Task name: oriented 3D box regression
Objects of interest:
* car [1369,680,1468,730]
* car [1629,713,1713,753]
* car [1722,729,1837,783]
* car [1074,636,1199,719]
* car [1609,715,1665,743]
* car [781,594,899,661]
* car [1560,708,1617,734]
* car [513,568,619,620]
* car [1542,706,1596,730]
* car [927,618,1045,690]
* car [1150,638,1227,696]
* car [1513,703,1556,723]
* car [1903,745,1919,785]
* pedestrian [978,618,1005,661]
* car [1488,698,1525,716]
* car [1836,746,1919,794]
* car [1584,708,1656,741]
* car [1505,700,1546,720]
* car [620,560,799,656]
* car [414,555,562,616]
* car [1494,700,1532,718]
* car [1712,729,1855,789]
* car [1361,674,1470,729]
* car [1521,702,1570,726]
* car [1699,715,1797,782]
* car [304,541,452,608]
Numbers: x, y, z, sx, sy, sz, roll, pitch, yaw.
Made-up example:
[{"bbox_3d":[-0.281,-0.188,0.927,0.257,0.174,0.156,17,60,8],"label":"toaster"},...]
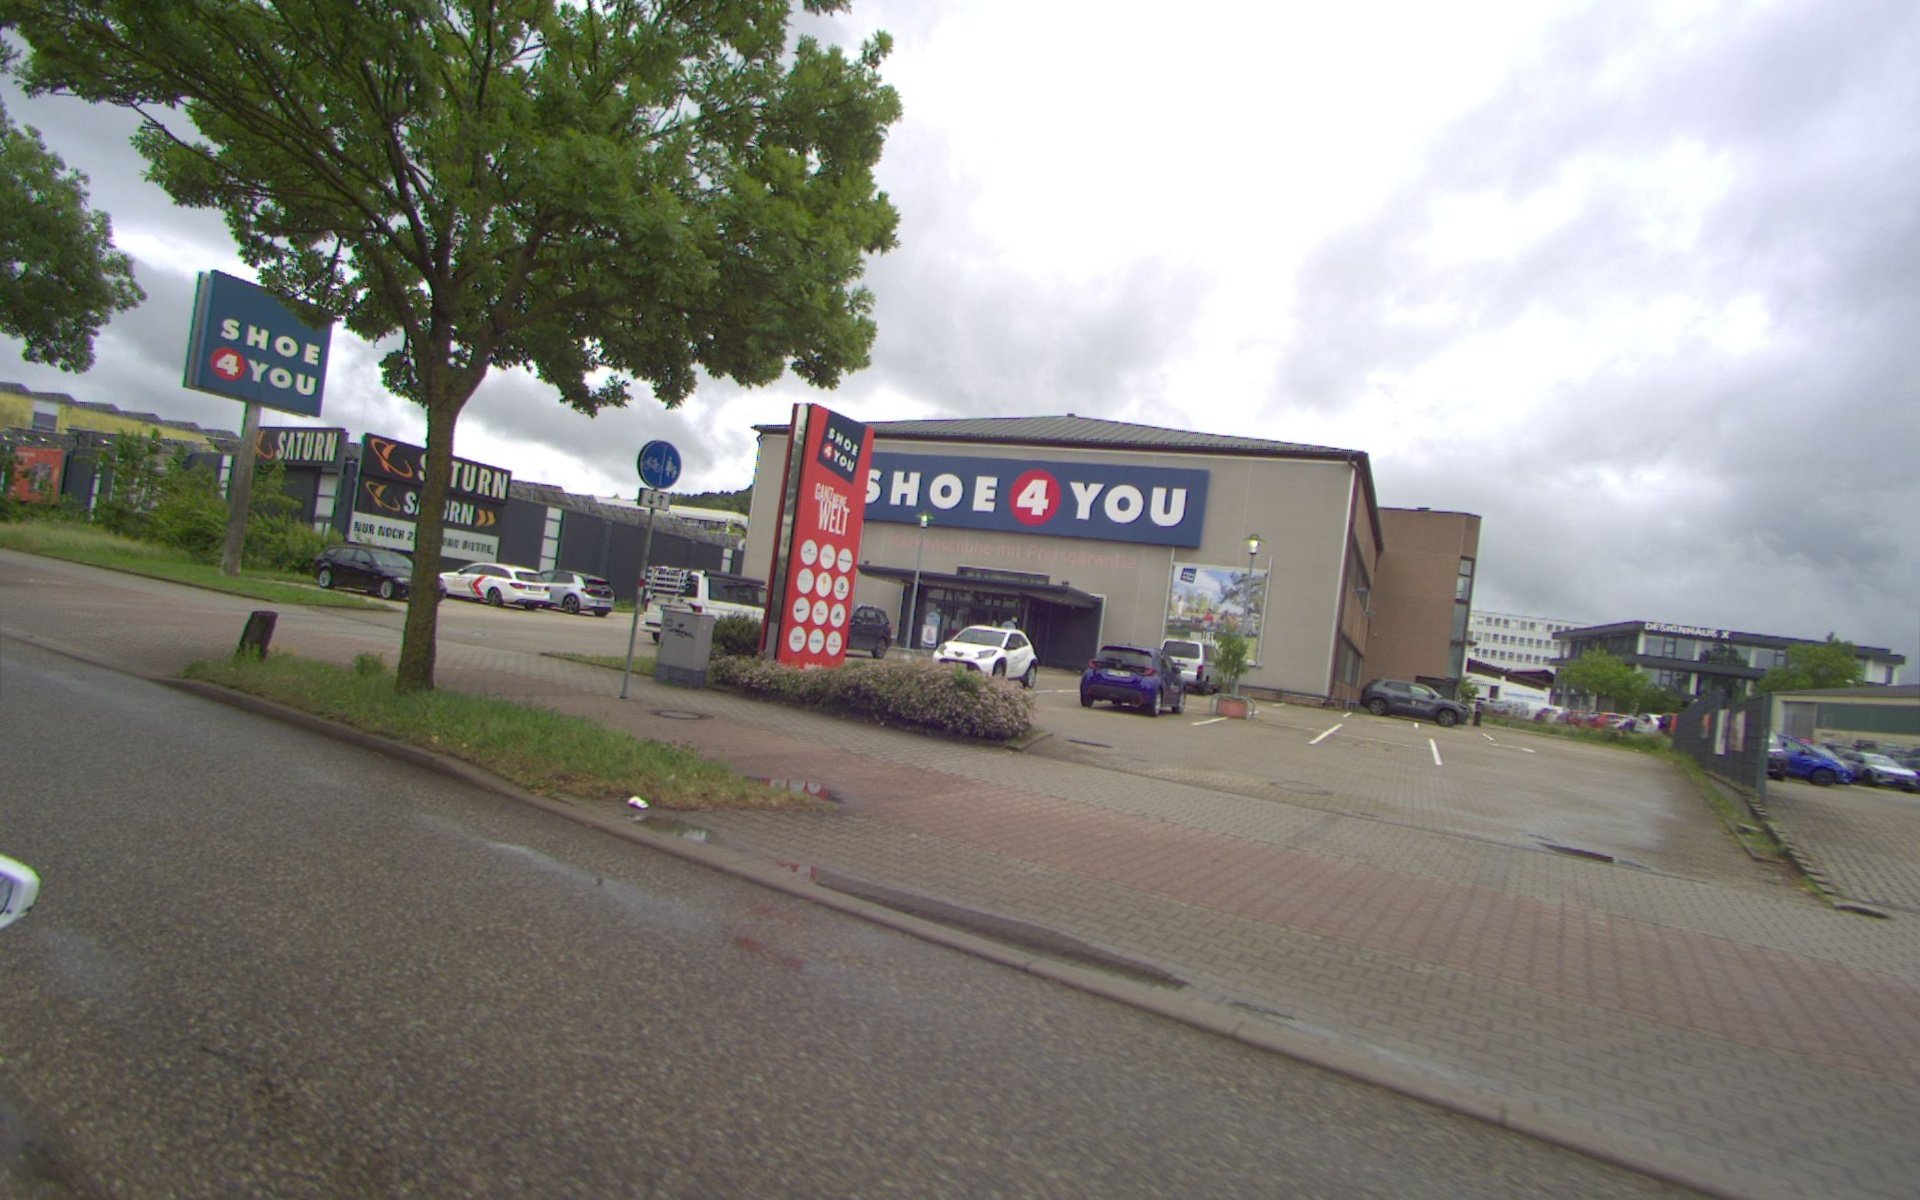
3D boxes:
[{"bbox_3d":[21.170,4.814,46.476,3.930,1.686,1.673,7,-1,27],"label":"car"},{"bbox_3d":[42.907,8.031,60.769,3.623,1.821,1.622,7,-1,10],"label":"car"},{"bbox_3d":[30.716,5.840,37.801,3.098,1.470,1.336,6,-3,33],"label":"car"},{"bbox_3d":[4.174,1.805,23.275,1.728,1.532,3.999,7,-2,25],"label":"car"},{"bbox_3d":[44.066,8.381,65.499,2.664,1.355,1.237,7,-1,10],"label":"car"},{"bbox_3d":[-3.823,0.944,32.792,1.711,1.750,4.258,7,-2,24],"label":"car"},{"bbox_3d":[46.702,8.986,74.808,3.155,1.405,1.507,7,-1,10],"label":"car"},{"bbox_3d":[-14.879,-0.217,37.997,3.522,1.458,1.585,7,-1,23],"label":"car"},{"bbox_3d":[47.803,9.254,79.020,3.155,1.405,1.507,7,-1,10],"label":"car"},{"bbox_3d":[0.751,1.444,26.059,1.646,1.532,3.651,7,-2,24],"label":"car"},{"bbox_3d":[8.900,2.629,38.858,1.901,1.882,4.258,7,-2,25],"label":"car"},{"bbox_3d":[49.281,9.712,86.380,2.817,1.316,1.322,7,-1,10],"label":"car"},{"bbox_3d":[51.434,8.804,52.089,1.758,2.037,4.102,6,-2,11],"label":"car"},{"bbox_3d":[1.466,1.842,47.104,0.913,1.907,0.771,7,0,12],"label":"pedestrian"},{"bbox_3d":[54.413,10.644,100.189,2.817,1.355,1.322,7,-1,10],"label":"car"},{"bbox_3d":[44.660,8.218,48.799,1.806,1.708,3.795,6,-2,18],"label":"car"},{"bbox_3d":[44.593,8.405,68.018,3.623,1.620,1.622,7,-1,10],"label":"car"},{"bbox_3d":[50.828,9.907,90.515,2.817,1.316,1.322,7,-1,10],"label":"car"},{"bbox_3d":[-6.518,0.303,26.837,1.954,2.037,4.837,6,-2,23],"label":"car"},{"bbox_3d":[-16.842,-0.514,35.885,4.862,1.485,1.887,7,-1,23],"label":"car"},{"bbox_3d":[53.433,10.562,97.186,2.817,1.316,1.322,7,-1,10],"label":"car"},{"bbox_3d":[27.460,5.291,33.681,3.434,1.380,1.464,6,-3,33],"label":"car"},{"bbox_3d":[19.033,4.222,42.073,3.930,1.686,1.673,7,-1,27],"label":"car"},{"bbox_3d":[48.920,9.499,84.086,3.155,1.507,1.431,7,-1,10],"label":"car"},{"bbox_3d":[24.417,4.564,31.294,1.758,1.662,3.660,7,-2,31],"label":"car"},{"bbox_3d":[-17.758,-0.787,30.675,4.188,1.445,1.583,7,-1,23],"label":"car"}]
